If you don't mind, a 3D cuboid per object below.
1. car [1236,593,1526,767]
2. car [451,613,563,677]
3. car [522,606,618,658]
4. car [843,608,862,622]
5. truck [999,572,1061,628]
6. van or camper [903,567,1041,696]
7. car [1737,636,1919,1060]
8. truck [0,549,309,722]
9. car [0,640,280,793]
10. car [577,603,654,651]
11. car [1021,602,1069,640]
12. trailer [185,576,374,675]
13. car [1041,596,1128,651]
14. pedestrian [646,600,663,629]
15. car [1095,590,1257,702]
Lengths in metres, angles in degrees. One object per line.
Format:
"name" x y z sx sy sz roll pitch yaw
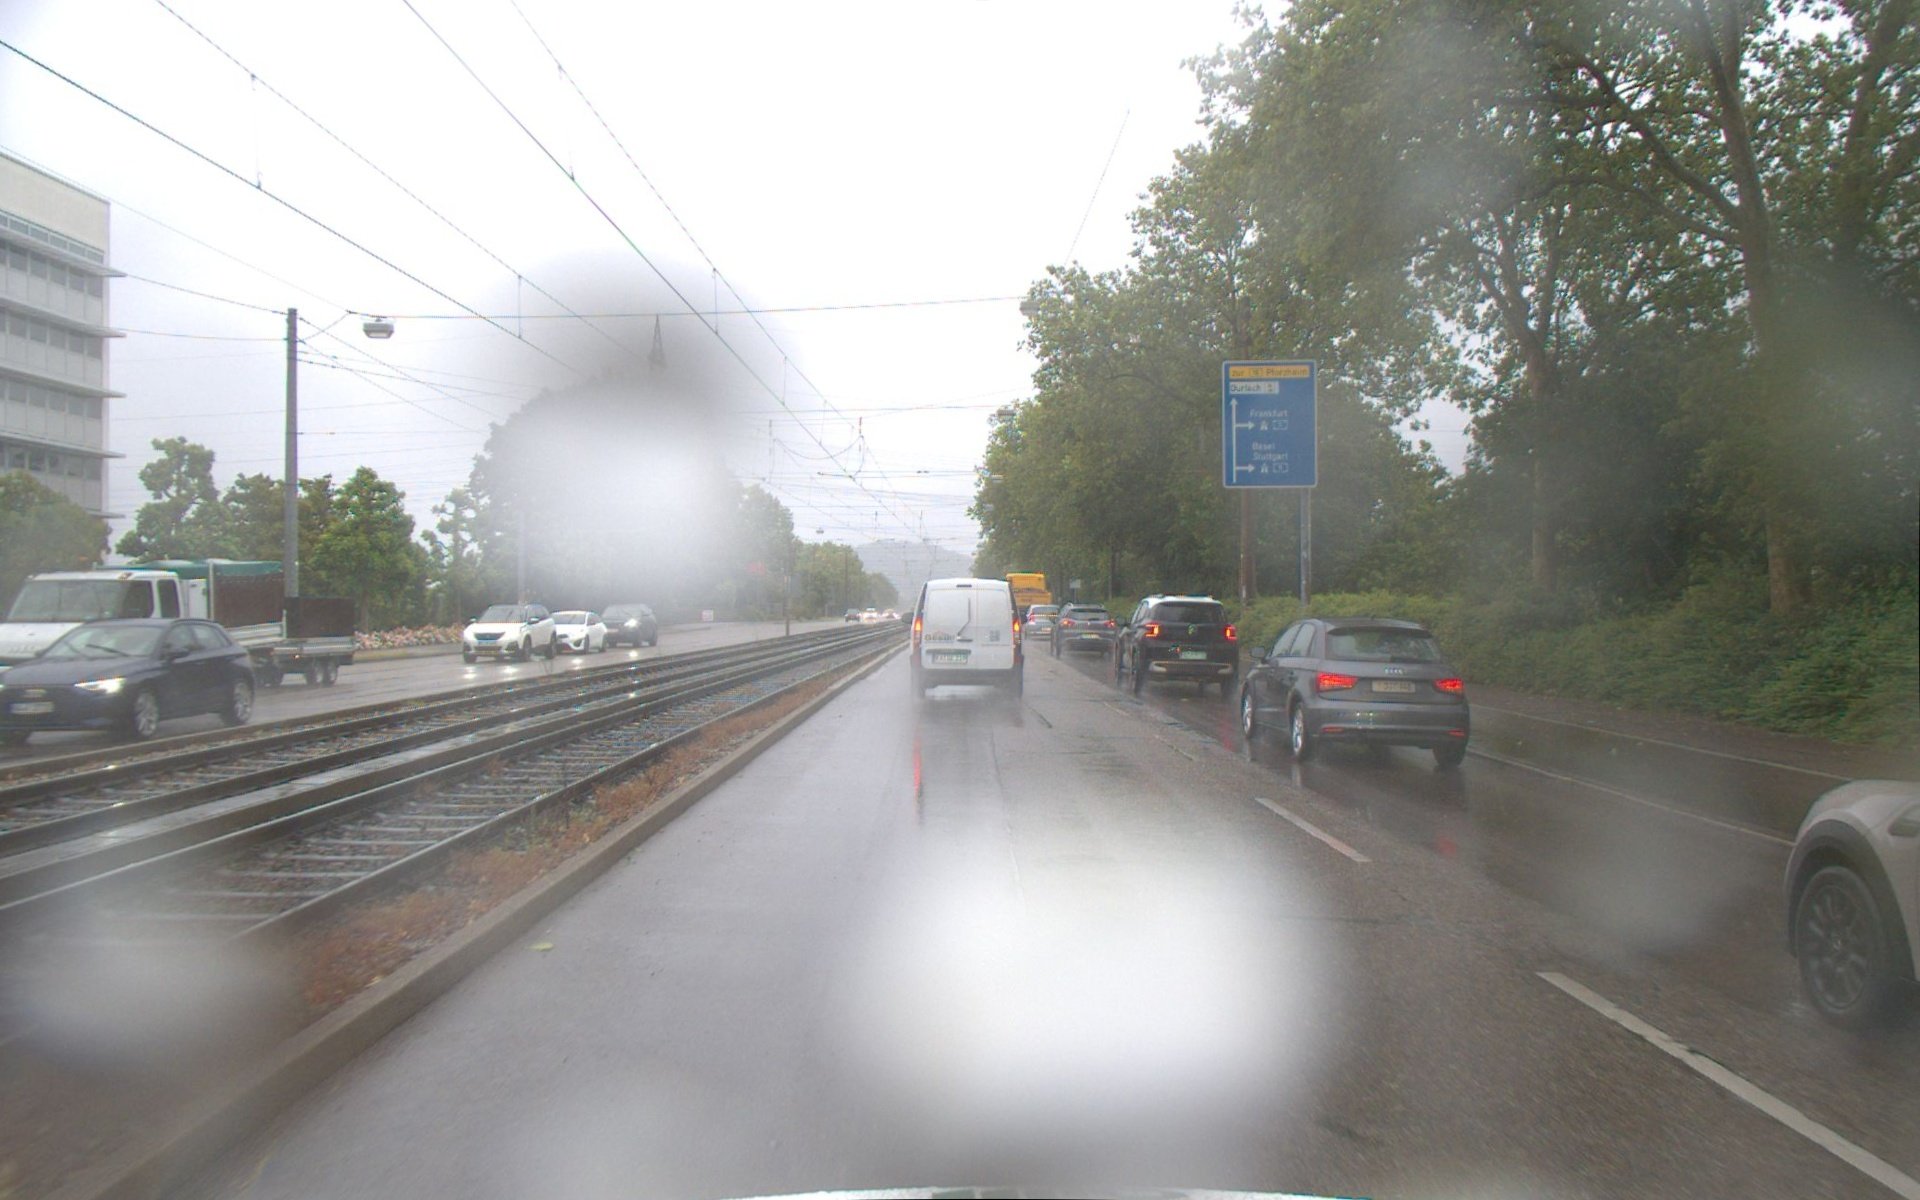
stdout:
"car" 4.236 0.738 17.323 1.928 1.555 3.990 1 1 -1
"car" -13.222 1.261 48.543 1.734 1.712 4.690 2 0 3
"car" -13.226 1.054 56.400 1.952 1.611 4.767 -1 0 2
"car" -13.146 1.811 202.652 1.952 1.646 4.254 0 0 2
"truck" 3.671 -0.003 88.159 3.049 2.822 6.329 1 0 0
"van or camper" 0.109 0.427 26.019 1.953 1.815 3.999 2 1 -2
"car" 4.189 0.882 5.005 1.755 1.438 3.853 3 -1 -1
"truck" -13.866 0.523 27.990 2.384 2.501 7.222 2 0 4
"car" -10.548 1.389 21.183 1.781 1.651 4.536 0 0 0
"car" -13.463 1.039 64.919 1.952 1.751 4.882 -1 0 1
"car" 3.438 0.840 67.343 1.781 1.438 3.779 1 1 1
"trailer" -13.796 0.499 33.790 2.075 1.824 3.837 2 0 3
"car" 3.492 0.634 47.147 1.783 1.438 3.773 1 1 -7
"pedestrian" -19.076 0.916 103.388 0.834 1.790 1.121 -1 0 0
"car" 3.684 0.727 29.018 1.862 1.747 4.721 1 1 -5
